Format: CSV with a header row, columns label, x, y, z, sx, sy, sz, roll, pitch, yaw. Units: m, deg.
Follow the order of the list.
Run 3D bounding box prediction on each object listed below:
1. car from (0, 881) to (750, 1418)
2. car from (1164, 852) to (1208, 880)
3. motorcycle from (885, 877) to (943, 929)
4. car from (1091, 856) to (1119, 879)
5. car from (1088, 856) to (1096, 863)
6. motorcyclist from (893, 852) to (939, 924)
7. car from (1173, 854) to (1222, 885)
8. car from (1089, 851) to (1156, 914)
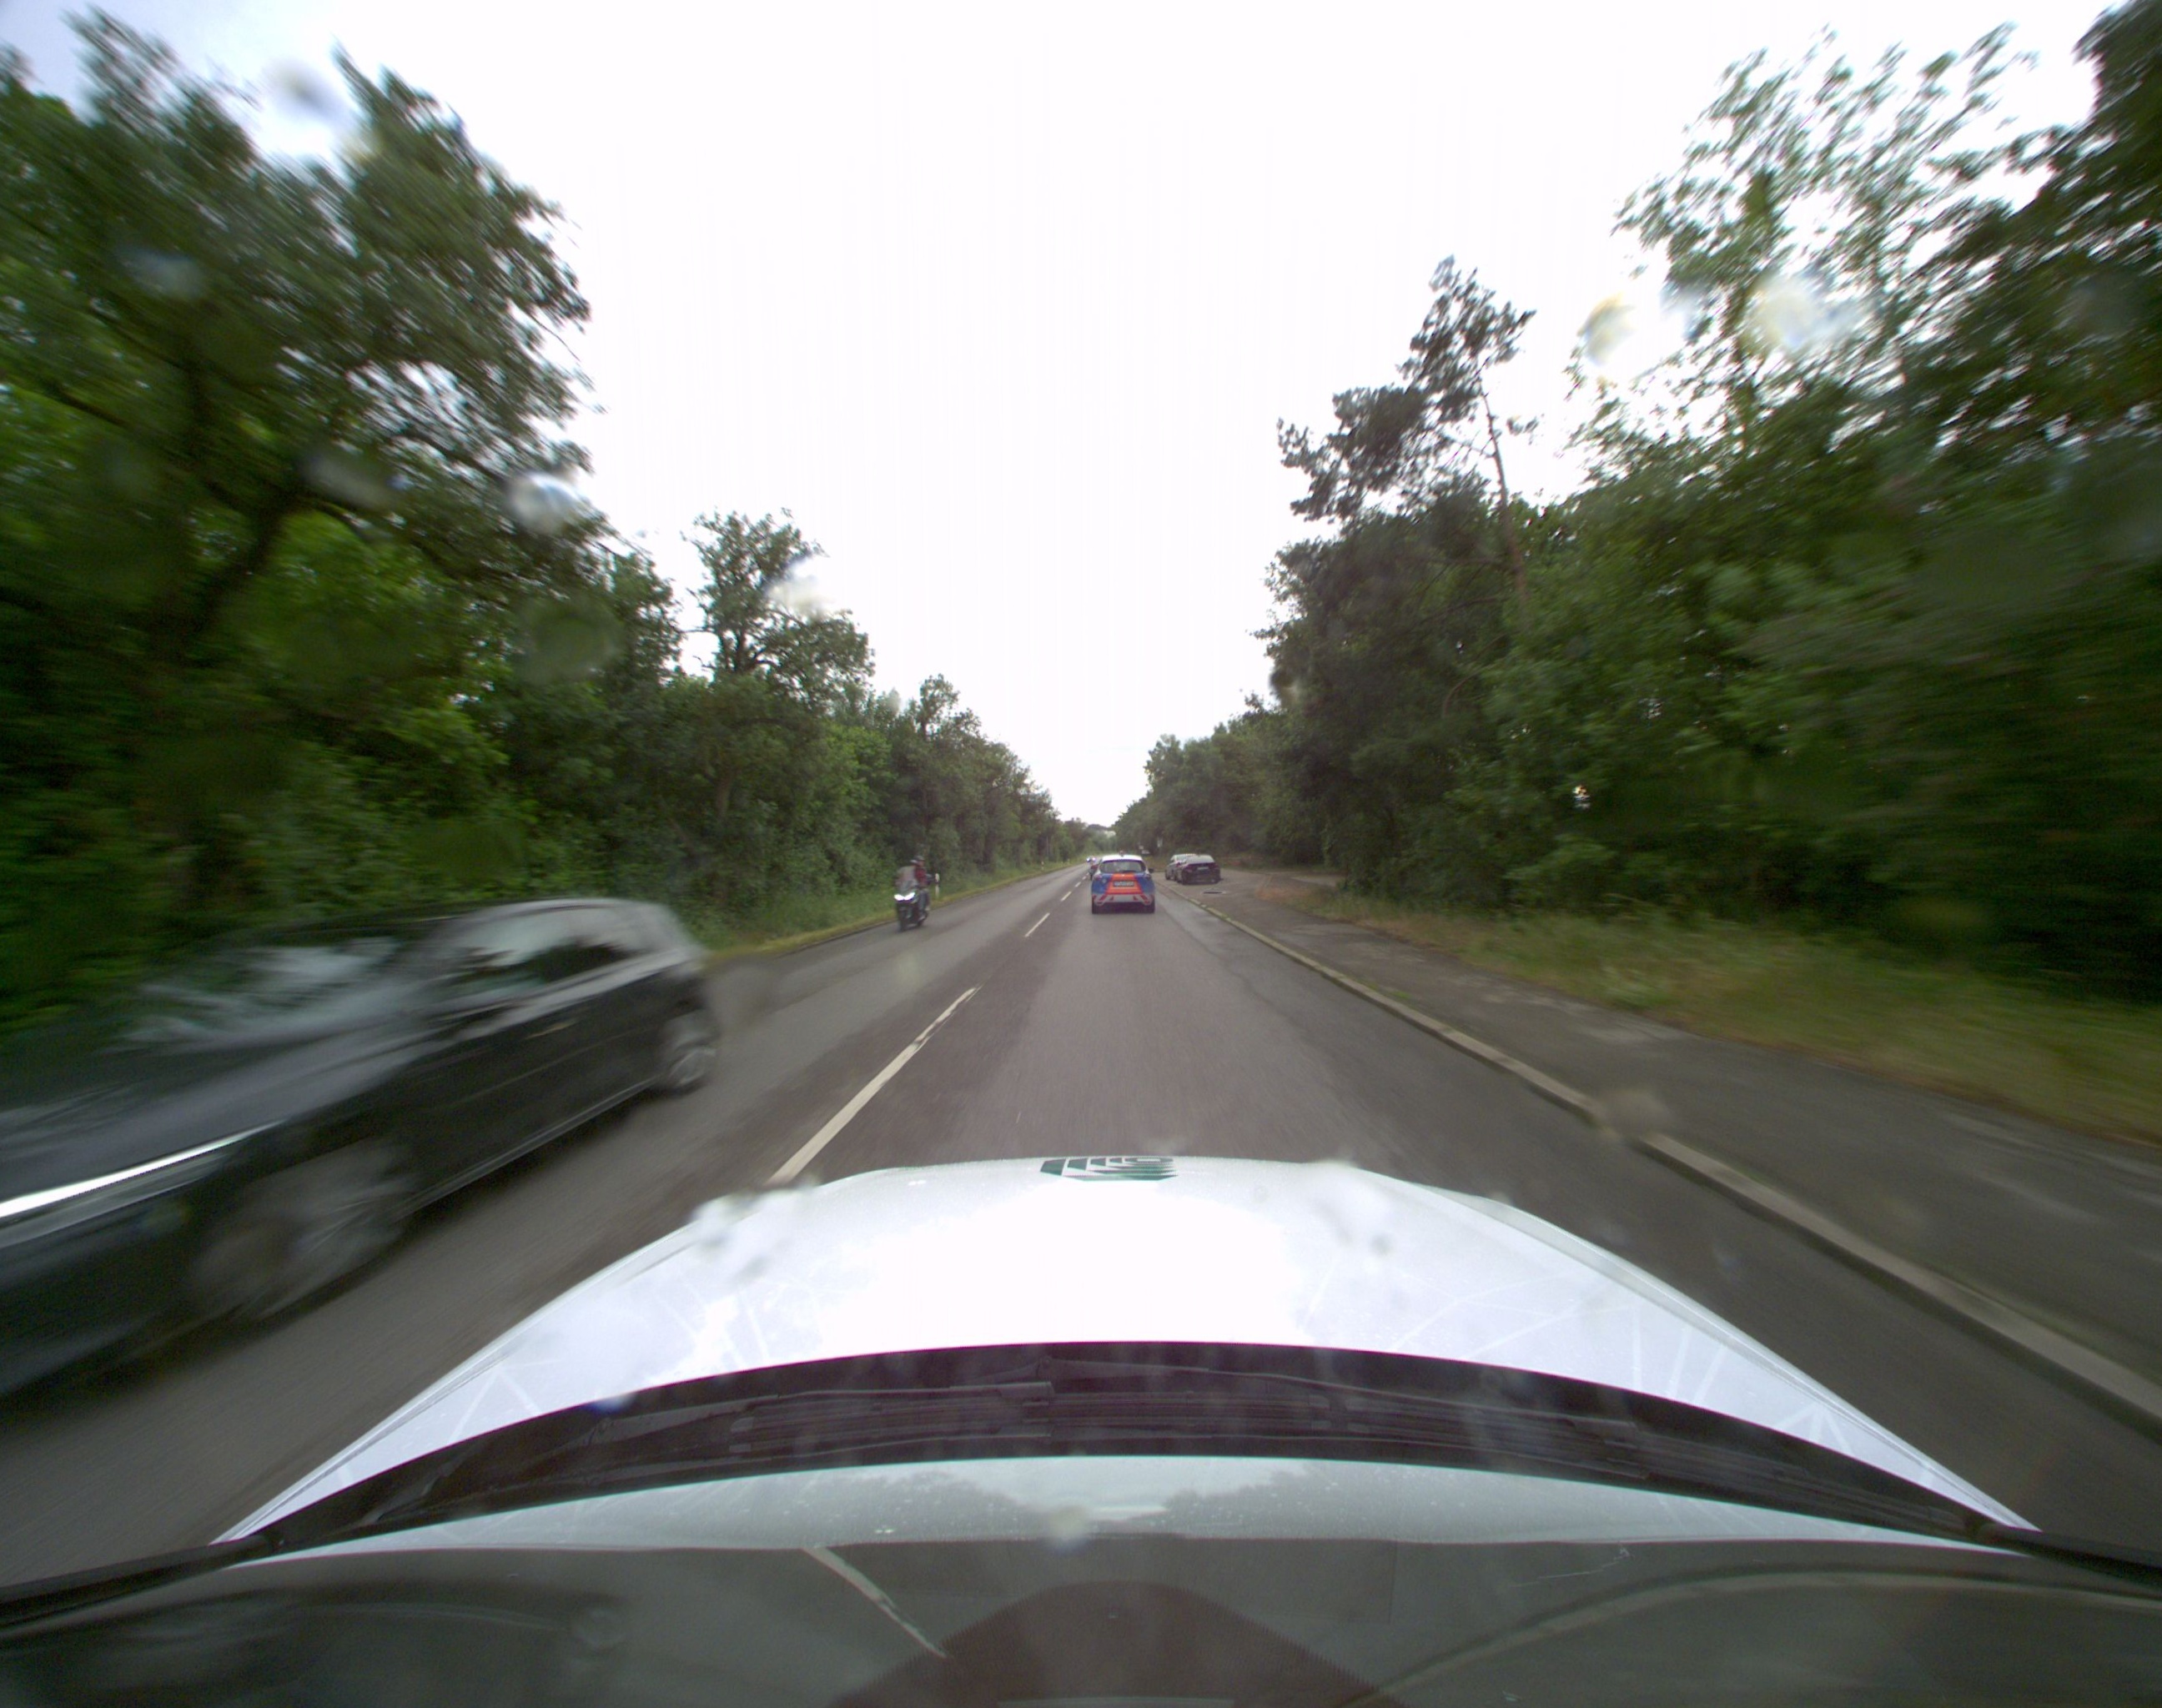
label,x,y,z,sx,sy,sz,roll,pitch,yaw
car,-3.586,0.964,4.430,1.704,1.399,4.151,-4,0,1
car,5.860,0.660,45.874,1.987,1.441,4.068,-1,0,1
motorcycle,-4.062,1.165,20.008,0.865,1.126,2.396,-2,0,1
car,1.482,0.830,49.989,1.592,1.287,3.478,-2,0,3
car,2.460,1.226,184.612,1.878,1.387,4.000,-1,0,0
motorcyclist,-4.070,0.815,20.146,0.865,1.722,1.036,-2,0,1
car,5.619,0.729,39.698,1.985,1.376,4.003,-2,0,3
car,1.141,0.735,23.045,1.745,1.555,3.794,-1,1,2
